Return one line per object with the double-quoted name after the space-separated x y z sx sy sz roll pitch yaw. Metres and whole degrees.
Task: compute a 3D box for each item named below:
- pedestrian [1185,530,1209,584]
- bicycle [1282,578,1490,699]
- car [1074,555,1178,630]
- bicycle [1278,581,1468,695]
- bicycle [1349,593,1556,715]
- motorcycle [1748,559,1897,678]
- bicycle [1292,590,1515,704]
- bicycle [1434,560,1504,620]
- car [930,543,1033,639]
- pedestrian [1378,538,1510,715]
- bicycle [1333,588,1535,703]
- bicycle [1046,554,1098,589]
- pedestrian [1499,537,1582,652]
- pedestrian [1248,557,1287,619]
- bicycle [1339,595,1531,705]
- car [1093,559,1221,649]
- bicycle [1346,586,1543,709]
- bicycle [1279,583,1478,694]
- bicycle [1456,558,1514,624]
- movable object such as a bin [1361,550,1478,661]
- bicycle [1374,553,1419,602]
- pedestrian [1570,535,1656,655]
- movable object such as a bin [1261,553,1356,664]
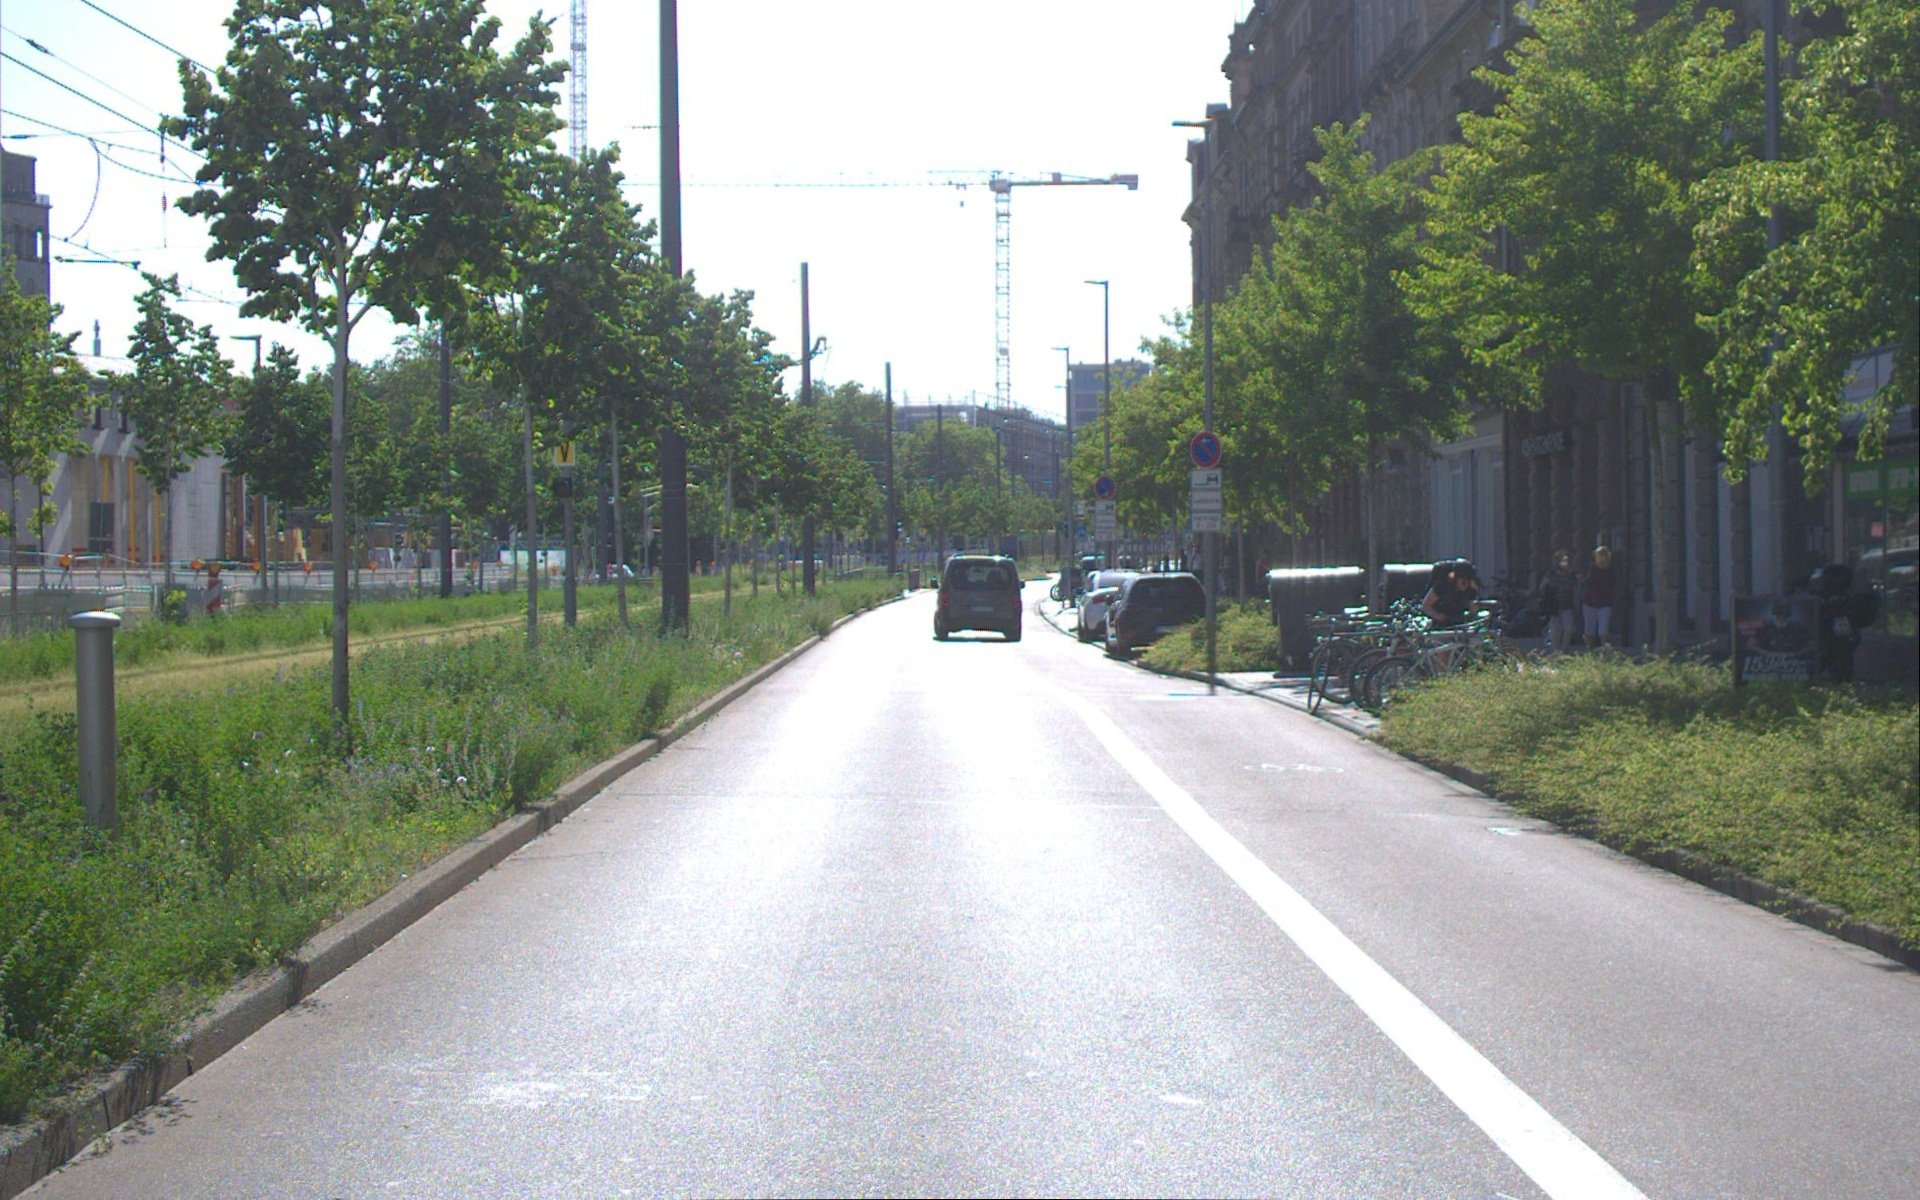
8.935 -1.611 129.460 0.817 2.007 1.046 1 -2 0 "pedestrian"
4.569 0.408 36.852 2.146 1.150 0.429 -4 1 -13 "bicycle"
3.542 -0.186 74.177 1.951 1.490 5.105 -2 1 0 "car"
4.604 0.422 38.344 1.974 1.120 0.482 -4 2 -5 "bicycle"
4.797 0.521 33.526 1.891 1.105 0.518 -2 0 -5 "bicycle"
9.566 0.195 38.275 0.866 1.262 2.982 1 0 -1 "motorcycle"
4.712 0.489 36.508 2.284 1.098 0.486 -2 0 -14 "bicycle"
9.886 -0.209 66.792 0.875 1.101 2.182 -3 1 -3 "bicycle"
0.439 -0.192 74.755 1.993 2.007 4.000 1 0 -3 "car"
4.945 0.270 35.132 0.900 1.730 0.849 -4 1 -32 "pedestrian"
4.870 0.467 35.342 1.977 1.104 0.435 -2 0 -3 "bicycle"
4.294 -1.089 131.541 1.878 1.229 0.500 -3 0 -5 "bicycle"
8.123 -0.086 48.128 0.950 1.561 1.080 -1 2 -1 "pedestrian"
8.704 -0.332 97.197 0.996 1.725 0.866 1 0 0 "pedestrian"
4.829 0.501 34.999 1.814 1.052 0.572 -2 0 -6 "bicycle"
3.485 0.061 61.470 1.765 1.472 4.449 -3 0 -3 "car"
4.773 0.461 33.880 1.866 1.175 0.374 -1 0 -3 "bicycle"
4.612 0.421 37.936 2.043 1.103 0.611 -3 0 -6 "bicycle"
9.726 -0.167 63.727 0.748 1.197 1.801 -1 0 0 "bicycle"
6.505 0.076 48.760 1.373 1.490 1.749 -3 0 1 "movable object such as a bin"
9.895 -0.519 77.925 0.721 1.086 2.198 -1 1 0 "bicycle"
9.127 -0.080 48.070 0.971 1.633 0.992 -1 2 0 "pedestrian"
4.909 0.111 48.589 1.271 1.458 1.644 1 3 4 "movable object such as a bin"
